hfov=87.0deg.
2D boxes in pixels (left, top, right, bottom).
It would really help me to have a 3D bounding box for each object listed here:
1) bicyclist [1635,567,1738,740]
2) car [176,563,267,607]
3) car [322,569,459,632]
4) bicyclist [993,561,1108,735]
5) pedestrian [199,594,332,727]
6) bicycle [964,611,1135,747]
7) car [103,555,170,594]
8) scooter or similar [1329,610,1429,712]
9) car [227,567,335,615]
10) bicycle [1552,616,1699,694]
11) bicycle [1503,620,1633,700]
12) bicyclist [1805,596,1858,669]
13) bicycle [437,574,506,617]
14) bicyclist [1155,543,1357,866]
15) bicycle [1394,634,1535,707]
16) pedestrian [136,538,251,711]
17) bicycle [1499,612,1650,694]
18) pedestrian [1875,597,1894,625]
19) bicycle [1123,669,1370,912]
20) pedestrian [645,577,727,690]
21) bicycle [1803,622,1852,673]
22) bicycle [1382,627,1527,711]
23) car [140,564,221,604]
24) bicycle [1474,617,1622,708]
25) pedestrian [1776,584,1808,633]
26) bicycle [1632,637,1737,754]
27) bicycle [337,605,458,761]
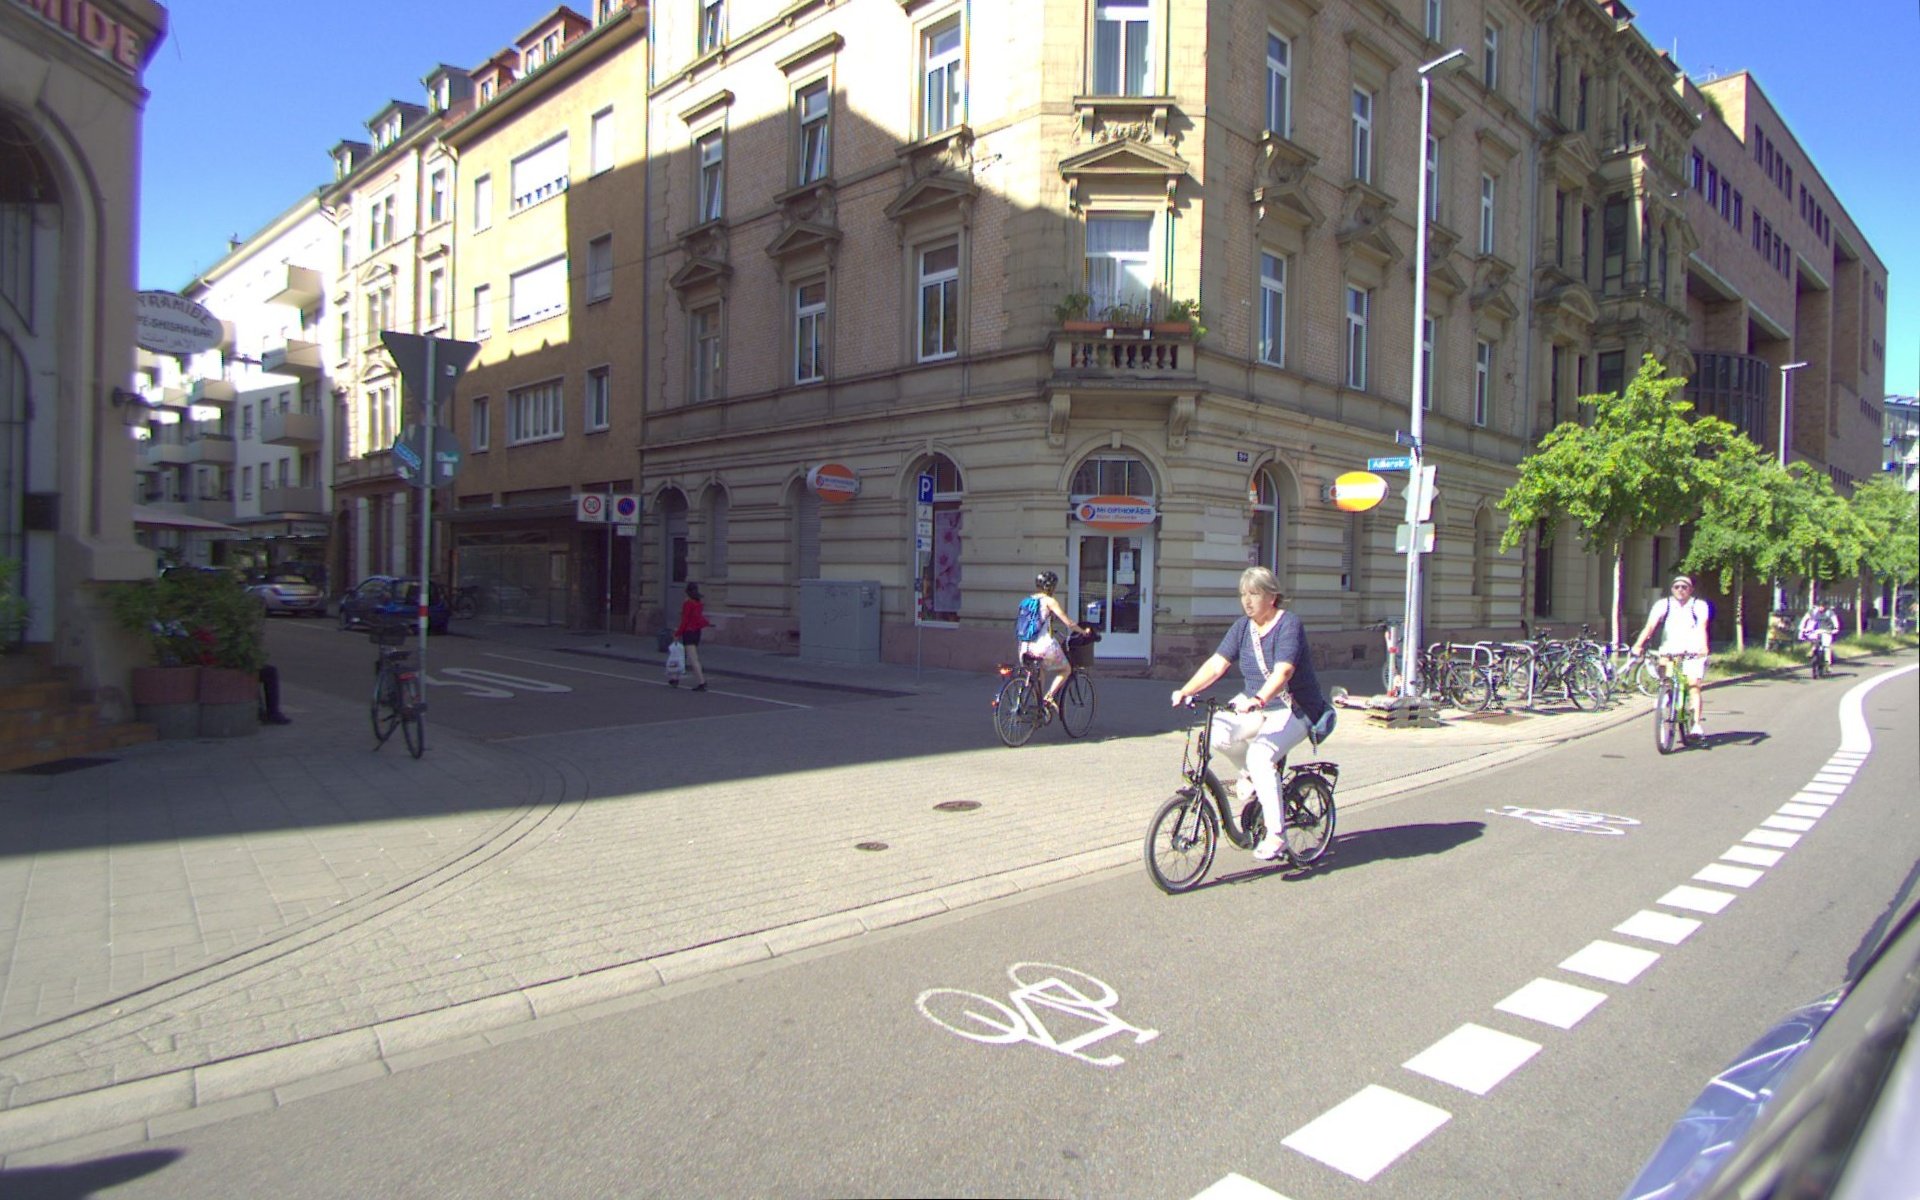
[{"bbox_3d":[7.753,0.547,10.797,0.893,1.751,0.684,1,-1,-41],"label":"bicyclist"},{"bbox_3d":[-26.076,-0.540,35.704,3.757,1.450,1.776,2,1,40],"label":"car"},{"bbox_3d":[-14.659,-0.002,25.984,3.983,1.438,1.775,2,-1,40],"label":"car"},{"bbox_3d":[0.916,0.449,10.213,0.944,1.660,0.667,1,1,-41],"label":"bicyclist"},{"bbox_3d":[-6.866,0.559,10.008,0.849,1.229,0.920,0,0,43],"label":"pedestrian"},{"bbox_3d":[0.934,0.743,10.223,1.867,1.238,0.584,0,1,-42],"label":"bicycle"},{"bbox_3d":[-37.548,-1.167,46.115,3.758,1.686,1.775,2,1,42],"label":"car"},{"bbox_3d":[5.388,0.762,13.058,0.411,1.204,1.115,1,1,-33],"label":"scooter or similar"},{"bbox_3d":[-21.372,-0.285,31.810,3.983,1.351,1.775,2,-1,40],"label":"car"},{"bbox_3d":[11.517,0.916,17.547,1.993,1.106,0.835,5,3,40],"label":"bicycle"},{"bbox_3d":[9.535,0.914,15.917,0.595,1.058,1.605,1,3,-37],"label":"bicycle"},{"bbox_3d":[19.998,0.726,23.221,0.748,1.637,0.755,0,-1,-38],"label":"bicyclist"},{"bbox_3d":[-14.443,-0.145,29.909,1.988,1.193,0.629,1,1,19],"label":"bicycle"},{"bbox_3d":[1.596,0.506,5.437,0.893,1.557,0.658,1,-1,-41],"label":"bicyclist"},{"bbox_3d":[7.058,0.961,14.235,0.595,0.831,1.677,1,2,-33],"label":"bicycle"},{"bbox_3d":[-8.382,0.253,11.067,0.906,1.783,0.854,0,0,43],"label":"pedestrian"},{"bbox_3d":[10.292,0.853,17.021,0.697,1.142,2.001,1,3,-39],"label":"bicycle"},{"bbox_3d":[50.188,0.604,54.929,0.723,1.505,0.633,0,1,-41],"label":"pedestrian"},{"bbox_3d":[1.568,0.936,5.426,1.481,1.040,0.558,0,-1,-41],"label":"bicycle"},{"bbox_3d":[-3.978,0.462,14.712,0.919,1.561,0.704,1,1,30],"label":"pedestrian"},{"bbox_3d":[19.869,1.063,23.175,1.480,1.110,0.578,0,-1,-38],"label":"bicycle"},{"bbox_3d":[6.654,0.901,13.698,0.595,0.955,1.677,1,1,-33],"label":"bicycle"},{"bbox_3d":[-30.101,-0.641,39.054,3.757,1.450,1.776,2,1,40],"label":"car"},{"bbox_3d":[8.526,0.875,14.741,0.595,1.114,1.729,1,3,-37],"label":"bicycle"},{"bbox_3d":[33.082,0.332,40.235,1.087,1.906,0.789,0,1,-41],"label":"pedestrian"},{"bbox_3d":[7.676,0.964,10.702,1.481,1.110,0.577,0,-1,-41],"label":"bicycle"},{"bbox_3d":[-5.018,0.685,8.972,0.641,1.186,1.823,5,-1,-36],"label":"bicycle"}]
